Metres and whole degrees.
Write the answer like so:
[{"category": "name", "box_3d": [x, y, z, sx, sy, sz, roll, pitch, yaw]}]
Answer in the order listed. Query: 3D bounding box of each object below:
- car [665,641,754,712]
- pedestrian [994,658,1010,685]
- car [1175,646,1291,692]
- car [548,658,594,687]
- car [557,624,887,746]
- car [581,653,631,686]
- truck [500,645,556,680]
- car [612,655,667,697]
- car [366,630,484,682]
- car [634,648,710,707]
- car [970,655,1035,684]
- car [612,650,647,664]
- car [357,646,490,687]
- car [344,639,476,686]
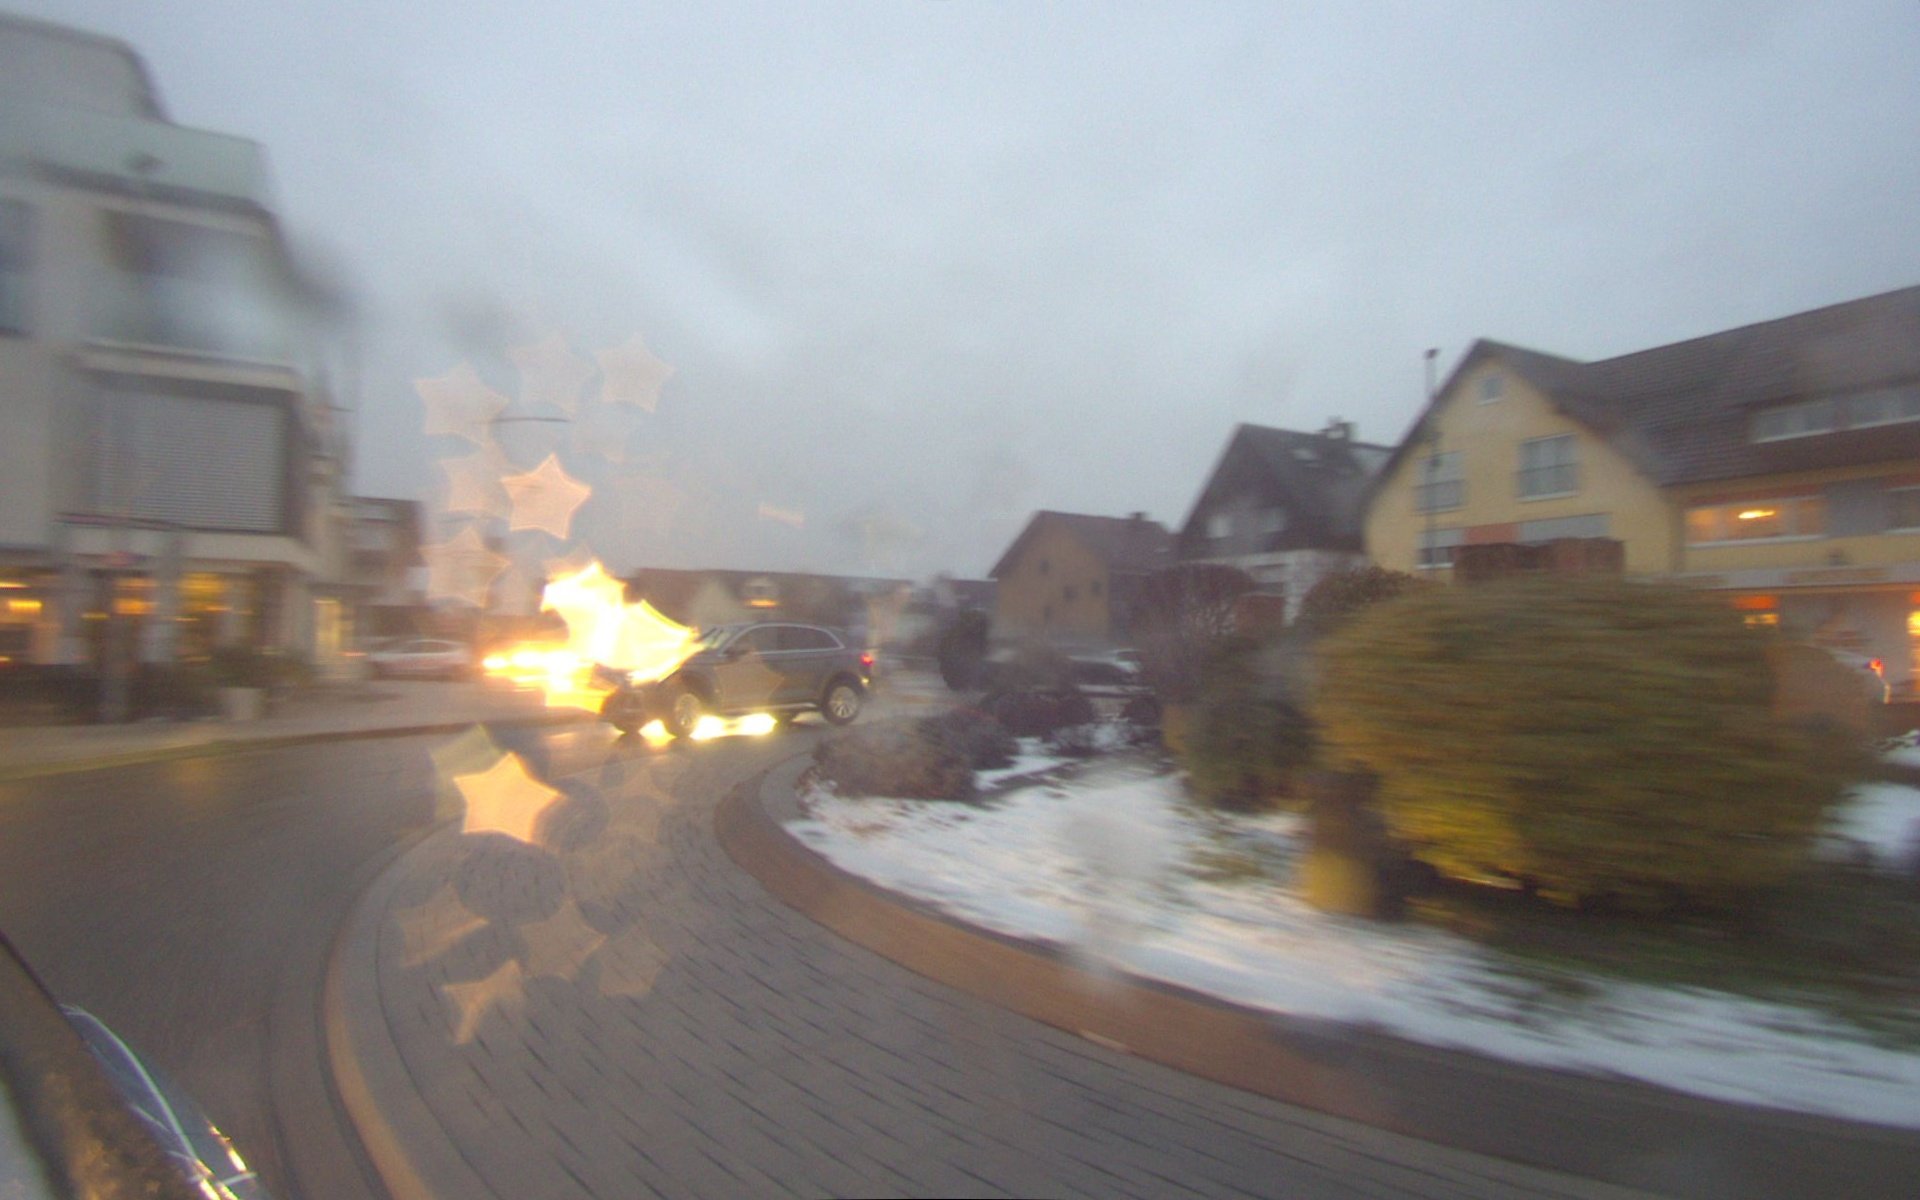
[{"category": "car", "box_3d": [-6.288, 1.849, 25.158, 1.857, 1.591, 4.012, 0, -3, -18]}, {"category": "pedestrian", "box_3d": [2.042, 3.469, 49.118, 0.600, 1.312, 0.506, -2, -4, 27]}, {"category": "car", "box_3d": [10.526, 2.666, 39.126, 3.989, 1.644, 1.744, -2, -6, 34]}, {"category": "car", "box_3d": [-22.167, 4.083, 57.610, 1.804, 1.556, 3.725, 1, -3, -32]}, {"category": "car", "box_3d": [-3.529, 1.232, 15.526, 4.560, 1.605, 1.956, 2, -5, -41]}, {"category": "car", "box_3d": [-16.650, 3.219, 47.457, 1.712, 1.454, 4.012, 0, -3, -27]}, {"category": "truck", "box_3d": [-29.443, 4.207, 68.867, 2.212, 2.247, 6.118, 2, -3, -36]}, {"category": "car", "box_3d": [-12.233, 2.853, 38.507, 1.545, 1.480, 3.628, 0, -3, -25]}, {"category": "car", "box_3d": [-24.360, 2.569, 46.143, 4.477, 1.948, 1.981, 7, -7, -29]}, {"category": "car", "box_3d": [-8.830, 2.305, 30.836, 1.653, 1.637, 4.013, 1, -3, -24]}, {"category": "car", "box_3d": [2.441, 4.040, 59.266, 1.750, 1.581, 4.105, 1, -3, -32]}, {"category": "car", "box_3d": [-36.009, 6.223, 110.198, 1.773, 1.480, 4.620, 4, -5, -43]}, {"category": "car", "box_3d": [-21.052, 2.651, 39.767, 4.445, 1.504, 1.980, 3, -7, -31]}, {"category": "car", "box_3d": [-20.097, 2.302, 37.017, 3.934, 1.515, 1.818, 6, -6, -36]}]
